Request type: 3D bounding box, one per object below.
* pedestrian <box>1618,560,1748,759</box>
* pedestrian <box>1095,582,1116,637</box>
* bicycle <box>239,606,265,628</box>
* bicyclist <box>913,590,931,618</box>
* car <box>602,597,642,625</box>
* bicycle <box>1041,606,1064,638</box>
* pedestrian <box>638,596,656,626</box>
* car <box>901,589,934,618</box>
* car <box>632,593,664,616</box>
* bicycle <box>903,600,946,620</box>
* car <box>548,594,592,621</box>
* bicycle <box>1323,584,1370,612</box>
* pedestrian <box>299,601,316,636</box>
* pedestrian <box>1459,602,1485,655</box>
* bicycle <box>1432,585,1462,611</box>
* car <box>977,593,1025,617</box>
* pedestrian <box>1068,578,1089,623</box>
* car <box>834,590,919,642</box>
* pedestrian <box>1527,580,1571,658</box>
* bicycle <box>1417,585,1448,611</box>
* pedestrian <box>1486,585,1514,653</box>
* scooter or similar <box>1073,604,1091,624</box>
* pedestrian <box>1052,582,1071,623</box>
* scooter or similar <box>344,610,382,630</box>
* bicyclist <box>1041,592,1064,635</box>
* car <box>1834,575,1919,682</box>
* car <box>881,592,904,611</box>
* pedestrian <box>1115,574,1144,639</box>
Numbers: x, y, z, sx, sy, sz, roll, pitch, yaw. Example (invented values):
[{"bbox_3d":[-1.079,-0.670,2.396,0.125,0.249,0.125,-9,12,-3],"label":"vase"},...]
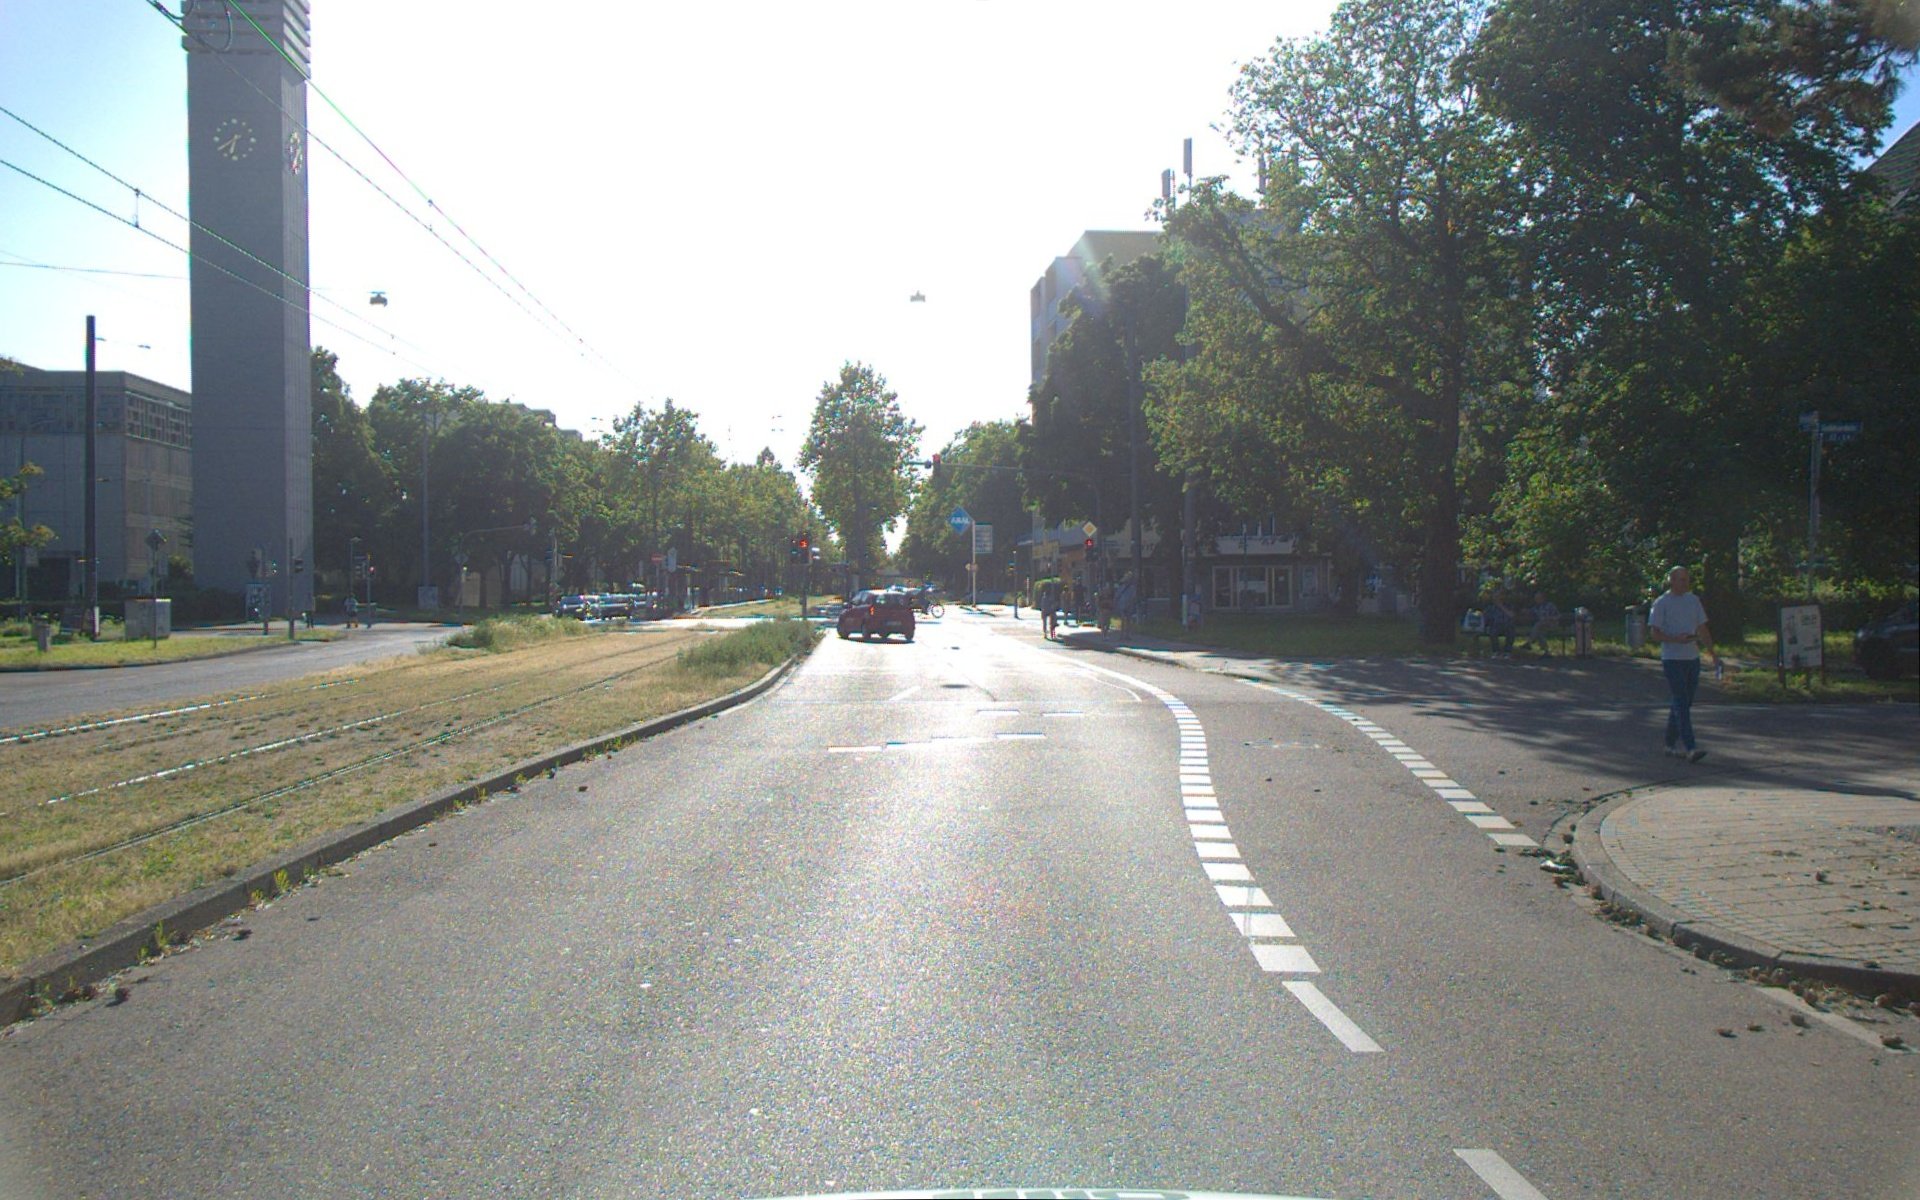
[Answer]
[{"bbox_3d":[6.562,0.520,15.044,0.862,1.752,0.725,-1,1,2],"label":"pedestrian"},{"bbox_3d":[4.227,0.265,47.976,0.518,1.555,0.628,-2,0,2],"label":"pedestrian"},{"bbox_3d":[-35.859,0.847,83.802,0.480,1.064,1.684,2,0,4],"label":"bicycle"},{"bbox_3d":[-2.094,0.229,90.760,0.752,1.496,0.899,-1,1,14],"label":"bicyclist"},{"bbox_3d":[-20.224,0.649,99.067,1.653,1.560,4.358,-1,0,-3],"label":"car"},{"bbox_3d":[2.990,0.704,53.555,0.635,0.989,1.803,2,0,0],"label":"bicycle"},{"bbox_3d":[-17.317,0.594,91.461,0.873,1.634,0.613,2,0,-3],"label":"pedestrian"},{"bbox_3d":[-2.896,0.225,111.496,1.930,1.892,3.996,2,0,-5],"label":"car"},{"bbox_3d":[-20.830,0.304,110.646,1.535,1.426,3.913,2,0,-3],"label":"car"},{"bbox_3d":[-1.961,0.561,90.742,2.203,1.004,0.790,0,5,12],"label":"bicycle"},{"bbox_3d":[-23.224,0.426,98.582,1.771,1.560,4.358,-1,0,-3],"label":"car"},{"bbox_3d":[21.320,-0.112,91.277,2.421,1.424,0.608,2,0,-5],"label":"bicycle"},{"bbox_3d":[-31.732,0.890,80.418,0.433,1.695,0.747,2,0,7],"label":"pedestrian"},{"bbox_3d":[9.593,0.520,30.981,0.395,0.950,0.623,2,2,23],"label":"pedestrian"},{"bbox_3d":[20.760,-0.092,70.538,0.585,1.052,1.989,2,0,-4],"label":"bicycle"},{"bbox_3d":[3.551,0.421,142.411,3.903,1.892,2.013,2,0,6],"label":"car"},{"bbox_3d":[4.642,0.021,64.639,0.714,1.711,0.533,2,0,9],"label":"pedestrian"},{"bbox_3d":[-2.651,0.479,51.797,1.669,1.534,3.678,1,0,-20],"label":"car"},{"bbox_3d":[10.883,0.340,30.558,0.671,1.397,0.755,2,0,23],"label":"pedestrian"},{"bbox_3d":[20.118,-0.102,70.474,0.585,1.052,2.005,2,0,-4],"label":"bicycle"},{"bbox_3d":[10.060,0.349,30.831,0.395,1.247,0.760,2,0,23],"label":"pedestrian"},{"bbox_3d":[4.741,0.529,64.063,0.586,0.750,0.681,2,0,-4],"label":"scooter or similar"},{"bbox_3d":[3.963,0.102,64.598,0.633,1.549,0.496,2,0,9],"label":"pedestrian"},{"bbox_3d":[-29.342,0.972,81.338,1.708,0.915,0.560,-1,0,-19],"label":"scooter or similar"},{"bbox_3d":[2.992,0.426,53.545,0.625,1.346,0.803,2,0,-1],"label":"bicyclist"},{"bbox_3d":[14.791,0.409,23.996,1.608,1.520,3.794,-2,1,-14],"label":"car"},{"bbox_3d":[-6.121,0.100,149.244,1.857,1.639,4.496,2,0,-4],"label":"car"},{"bbox_3d":[4.885,0.169,47.730,0.688,1.820,0.694,-3,1,2],"label":"pedestrian"}]
